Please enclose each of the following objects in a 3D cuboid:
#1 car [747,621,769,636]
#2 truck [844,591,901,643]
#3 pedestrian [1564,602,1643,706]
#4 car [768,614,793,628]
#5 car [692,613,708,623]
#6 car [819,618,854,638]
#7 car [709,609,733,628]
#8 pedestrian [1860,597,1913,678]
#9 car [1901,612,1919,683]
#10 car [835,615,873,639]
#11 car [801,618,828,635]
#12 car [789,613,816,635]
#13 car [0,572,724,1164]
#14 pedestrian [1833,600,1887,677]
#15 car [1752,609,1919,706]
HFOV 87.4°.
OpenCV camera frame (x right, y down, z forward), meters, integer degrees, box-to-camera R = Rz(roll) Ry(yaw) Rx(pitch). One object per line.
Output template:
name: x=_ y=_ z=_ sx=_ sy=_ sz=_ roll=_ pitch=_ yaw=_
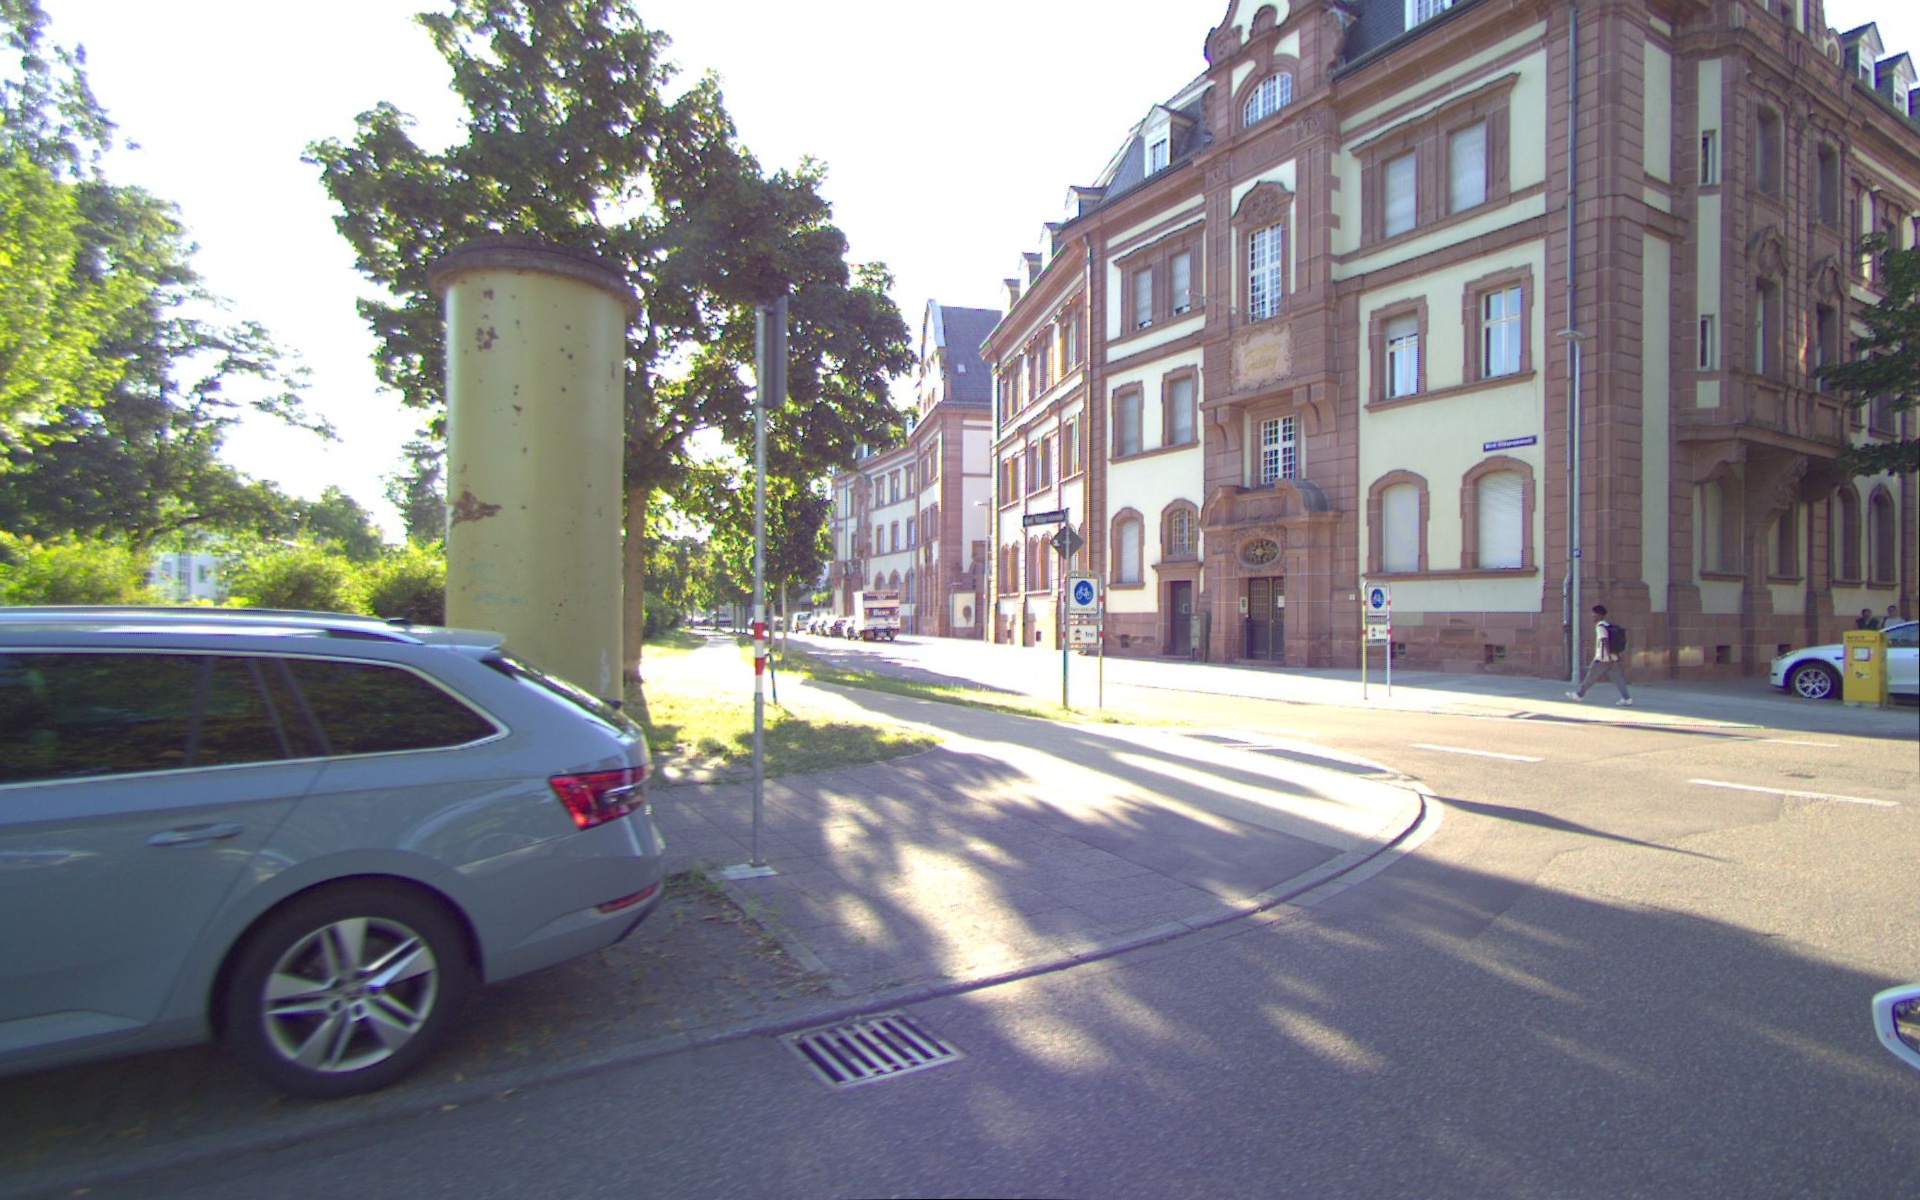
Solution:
car: x=-24.003 y=3.353 z=119.335 sx=1.705 sy=1.691 sz=4.091 roll=-1 pitch=0 yaw=-23
truck: x=-5.685 y=1.058 z=64.336 sx=2.589 sy=3.162 sz=6.067 roll=0 pitch=-1 yaw=-16
pedestrian: x=11.200 y=0.919 z=17.498 sx=0.528 sy=1.742 sz=0.995 roll=-3 pitch=1 yaw=-30
car: x=-19.724 y=2.333 z=110.011 sx=1.729 sy=1.486 sz=4.452 roll=1 pitch=-1 yaw=-24
car: x=-40.241 y=2.805 z=155.598 sx=1.674 sy=1.460 sz=3.527 roll=0 pitch=-1 yaw=-26
car: x=-9.638 y=2.171 z=78.246 sx=1.848 sy=1.455 sz=4.505 roll=-1 pitch=-1 yaw=-18
car: x=-34.838 y=2.650 z=146.076 sx=2.188 sy=2.564 sz=6.110 roll=-2 pitch=0 yaw=-25
pedestrian: x=21.997 y=0.873 z=23.855 sx=0.605 sy=1.865 sz=0.721 roll=1 pitch=1 yaw=-29
car: x=23.814 y=1.141 z=21.982 sx=1.946 sy=1.606 sz=4.351 roll=1 pitch=1 yaw=-34
car: x=-7.396 y=1.850 z=69.843 sx=1.746 sy=1.551 sz=4.555 roll=-1 pitch=-1 yaw=-18
car: x=-12.741 y=2.311 z=87.821 sx=1.657 sy=1.421 sz=4.184 roll=1 pitch=-1 yaw=-17
car: x=-15.505 y=2.377 z=98.549 sx=1.967 sy=1.992 sz=4.833 roll=-3 pitch=-1 yaw=-16
car: x=-3.387 y=0.715 z=3.268 sx=4.782 sy=1.579 sz=1.852 roll=1 pitch=-1 yaw=-31
pedestrian: x=22.306 y=0.939 z=24.897 sx=0.708 sy=1.865 sz=0.784 roll=1 pitch=1 yaw=-29
car: x=17.711 y=1.069 z=18.371 sx=1.946 sy=1.610 sz=4.677 roll=1 pitch=1 yaw=-34
